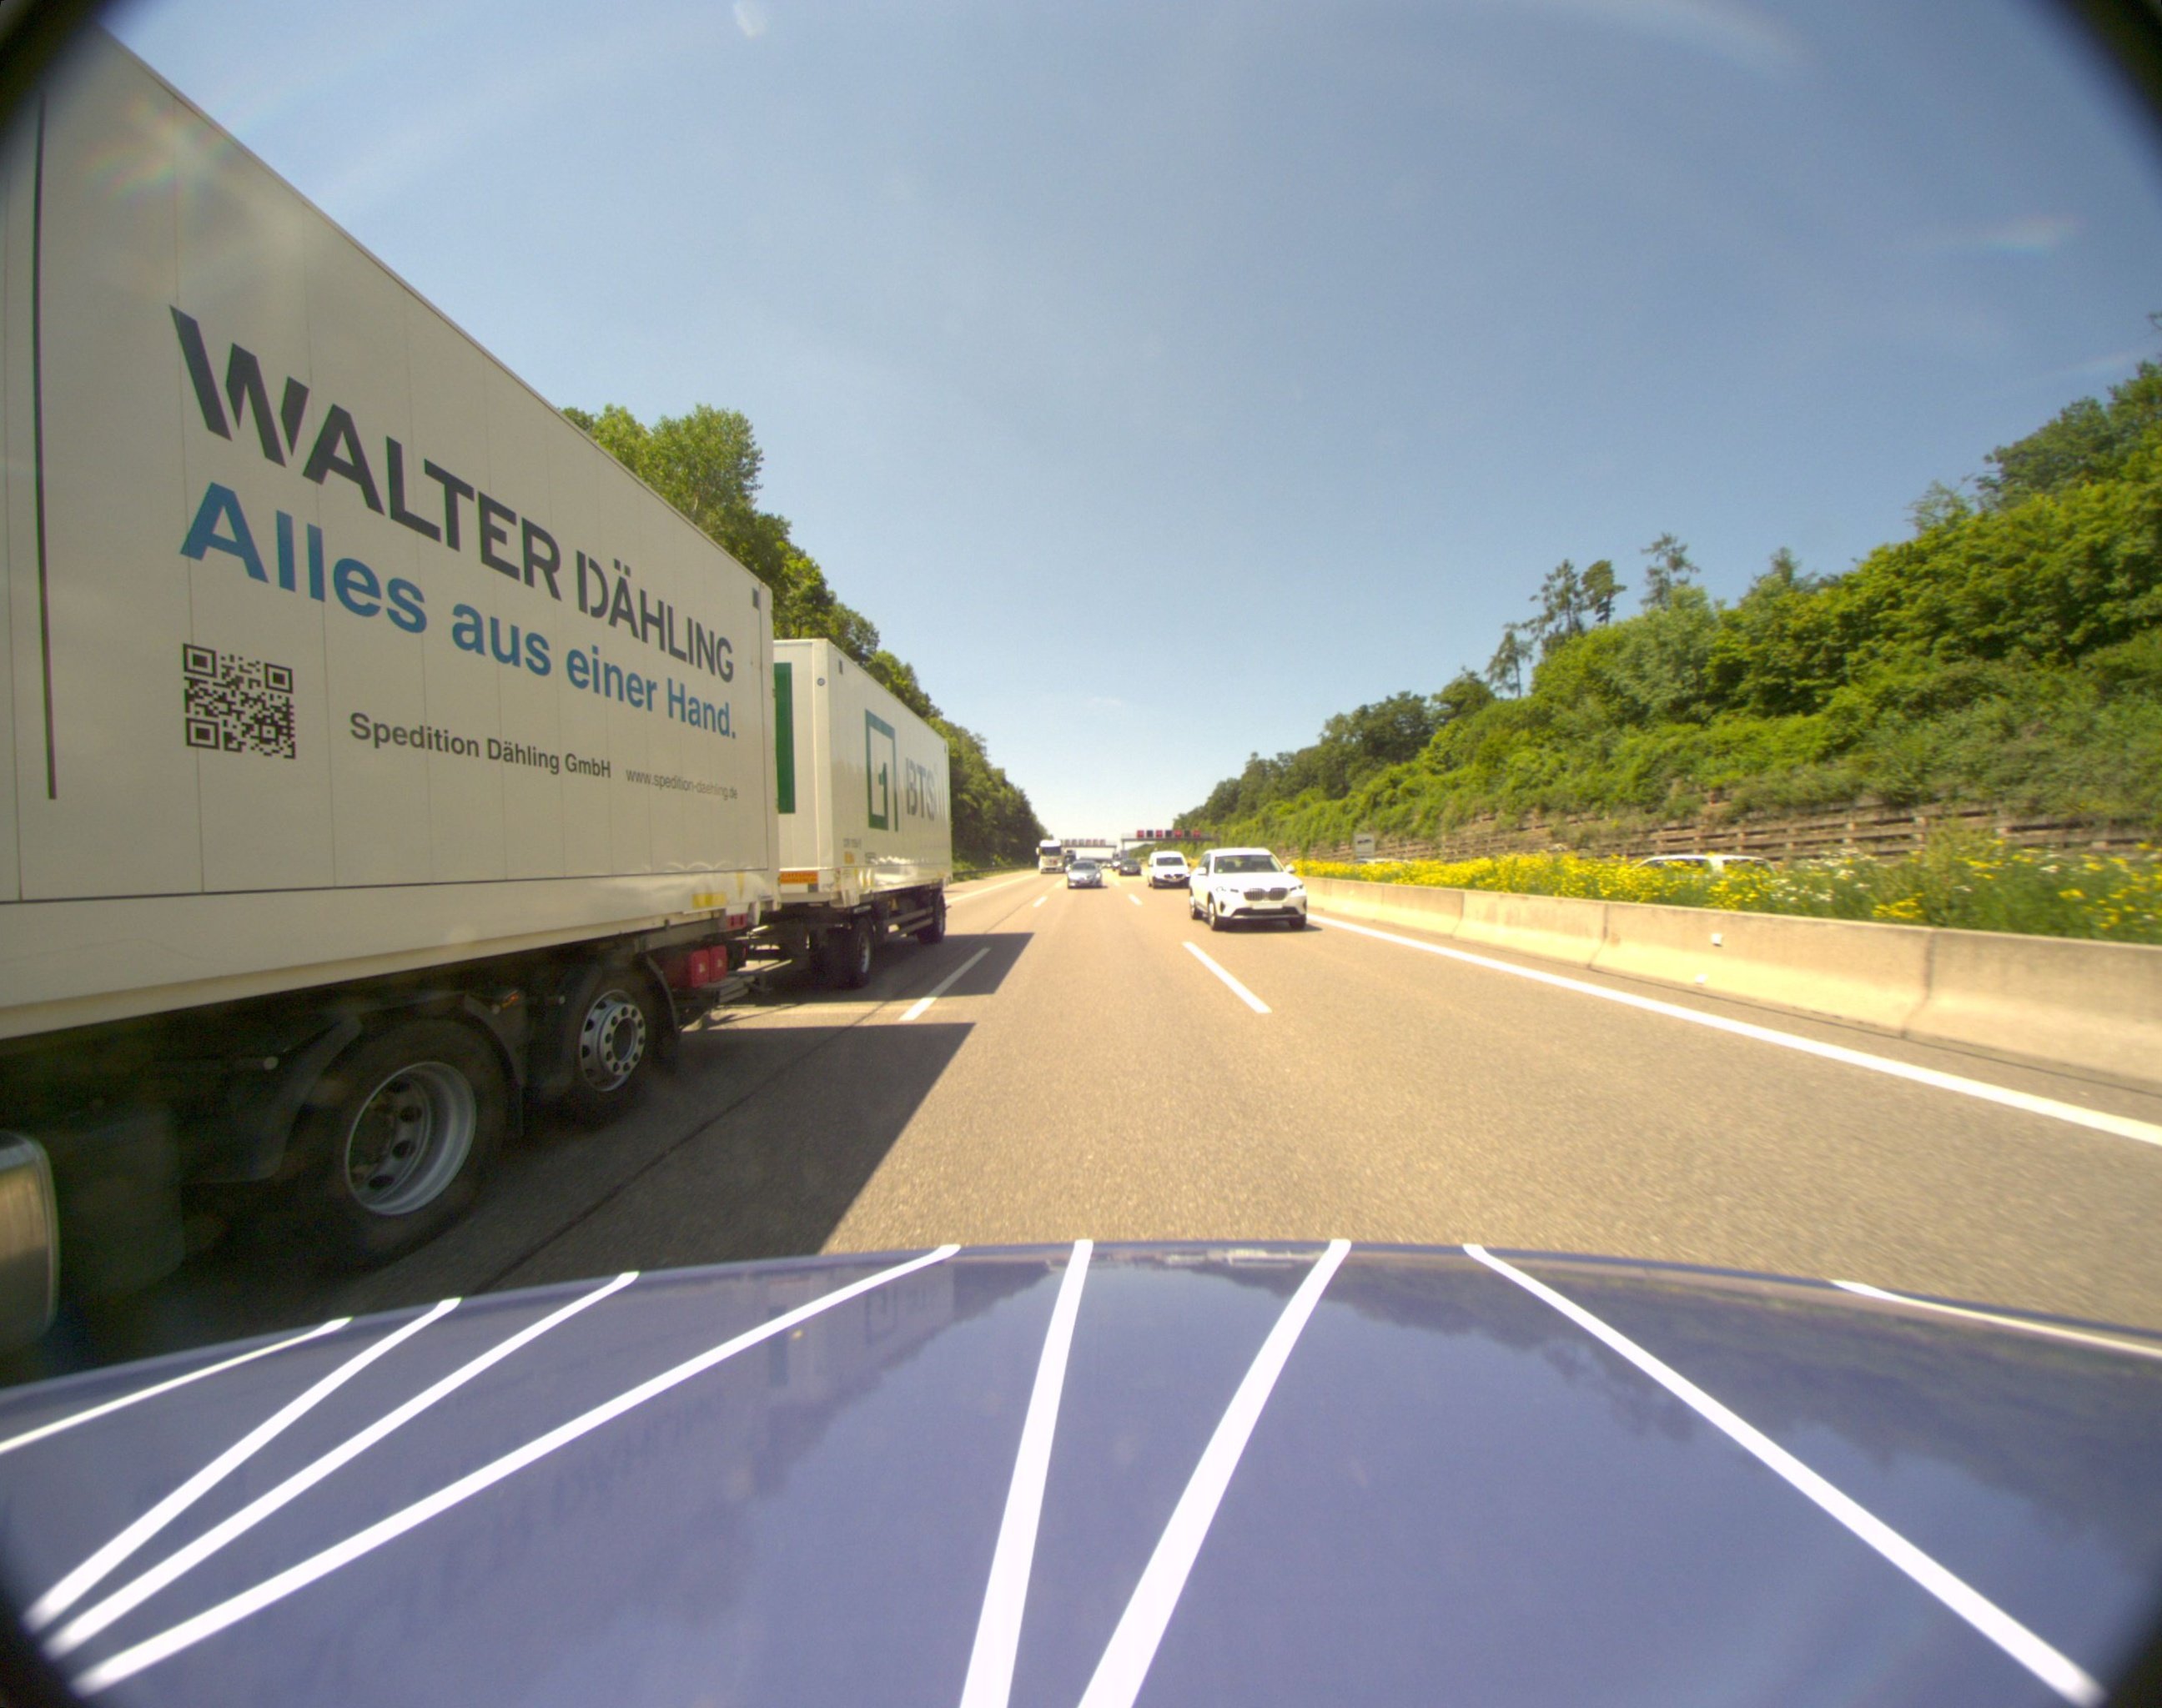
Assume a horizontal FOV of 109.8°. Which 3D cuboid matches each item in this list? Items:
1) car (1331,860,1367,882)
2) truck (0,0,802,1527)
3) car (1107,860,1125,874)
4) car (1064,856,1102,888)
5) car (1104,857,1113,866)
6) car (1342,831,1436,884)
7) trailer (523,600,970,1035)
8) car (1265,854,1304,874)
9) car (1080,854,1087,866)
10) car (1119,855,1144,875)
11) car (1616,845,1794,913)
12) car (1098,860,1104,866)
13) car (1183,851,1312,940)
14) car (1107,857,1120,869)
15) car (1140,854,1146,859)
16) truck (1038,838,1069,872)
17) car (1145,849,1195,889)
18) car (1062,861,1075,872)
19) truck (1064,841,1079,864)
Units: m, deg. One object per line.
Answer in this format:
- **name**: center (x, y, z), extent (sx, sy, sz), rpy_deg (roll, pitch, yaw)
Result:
- **car**: center (19.089, 1.168, 54.214), extent (1.442, 1.513, 3.153), rpy_deg (0, 0, 0)
- **truck**: center (-4.051, -0.328, 1.868), extent (2.687, 4.035, 10.627), rpy_deg (-2, -1, 0)
- **car**: center (4.030, 1.544, 88.012), extent (1.770, 1.504, 4.001), rpy_deg (-3, -1, 0)
- **car**: center (0.169, 0.939, 40.549), extent (1.843, 1.517, 4.502), rpy_deg (-3, -1, 2)
- **car**: center (6.067, 1.637, 167.969), extent (1.924, 1.848, 4.001), rpy_deg (-3, -1, 2)
- **car**: center (11.802, 0.150, 29.481), extent (1.895, 1.796, 4.502), rpy_deg (-3, -1, 2)
- **trailer**: center (-3.991, -0.276, 12.407), extent (2.687, 4.150, 10.066), rpy_deg (-2, -1, 0)
- **car**: center (16.044, 0.790, 60.150), extent (1.792, 1.513, 4.586), rpy_deg (0, 0, 0)
- **car**: center (0.890, 1.772, 235.775), extent (1.924, 3.522, 4.826), rpy_deg (-3, -1, 2)
- **car**: center (4.267, 0.952, 64.845), extent (1.770, 1.504, 4.726), rpy_deg (-3, -1, 0)
- **car**: center (18.899, 0.681, 23.329), extent (1.815, 1.797, 4.501), rpy_deg (-3, 1, 2)
- **car**: center (6.825, 3.079, 257.312), extent (1.924, 1.848, 4.001), rpy_deg (-3, -1, 2)
- **car**: center (3.458, 0.788, 16.634), extent (1.850, 1.634, 4.368), rpy_deg (-2, 0, 0)
- **car**: center (5.094, 1.449, 119.221), extent (1.924, 1.848, 4.001), rpy_deg (-3, -1, 2)
- **car**: center (21.511, 0.858, 263.930), extent (1.704, 1.513, 3.153), rpy_deg (0, 0, 0)
- **truck**: center (-3.036, 0.236, 87.350), extent (2.844, 3.517, 13.089), rpy_deg (-3, -1, 0)
- **car**: center (4.360, 0.727, 37.853), extent (1.998, 1.764, 4.502), rpy_deg (-3, -1, 2)
- **car**: center (-1.841, 1.837, 113.385), extent (1.770, 1.504, 4.001), rpy_deg (-3, -1, 0)
- **truck**: center (-1.906, -0.174, 159.479), extent (2.627, 4.364, 13.089), rpy_deg (-3, -1, 0)
